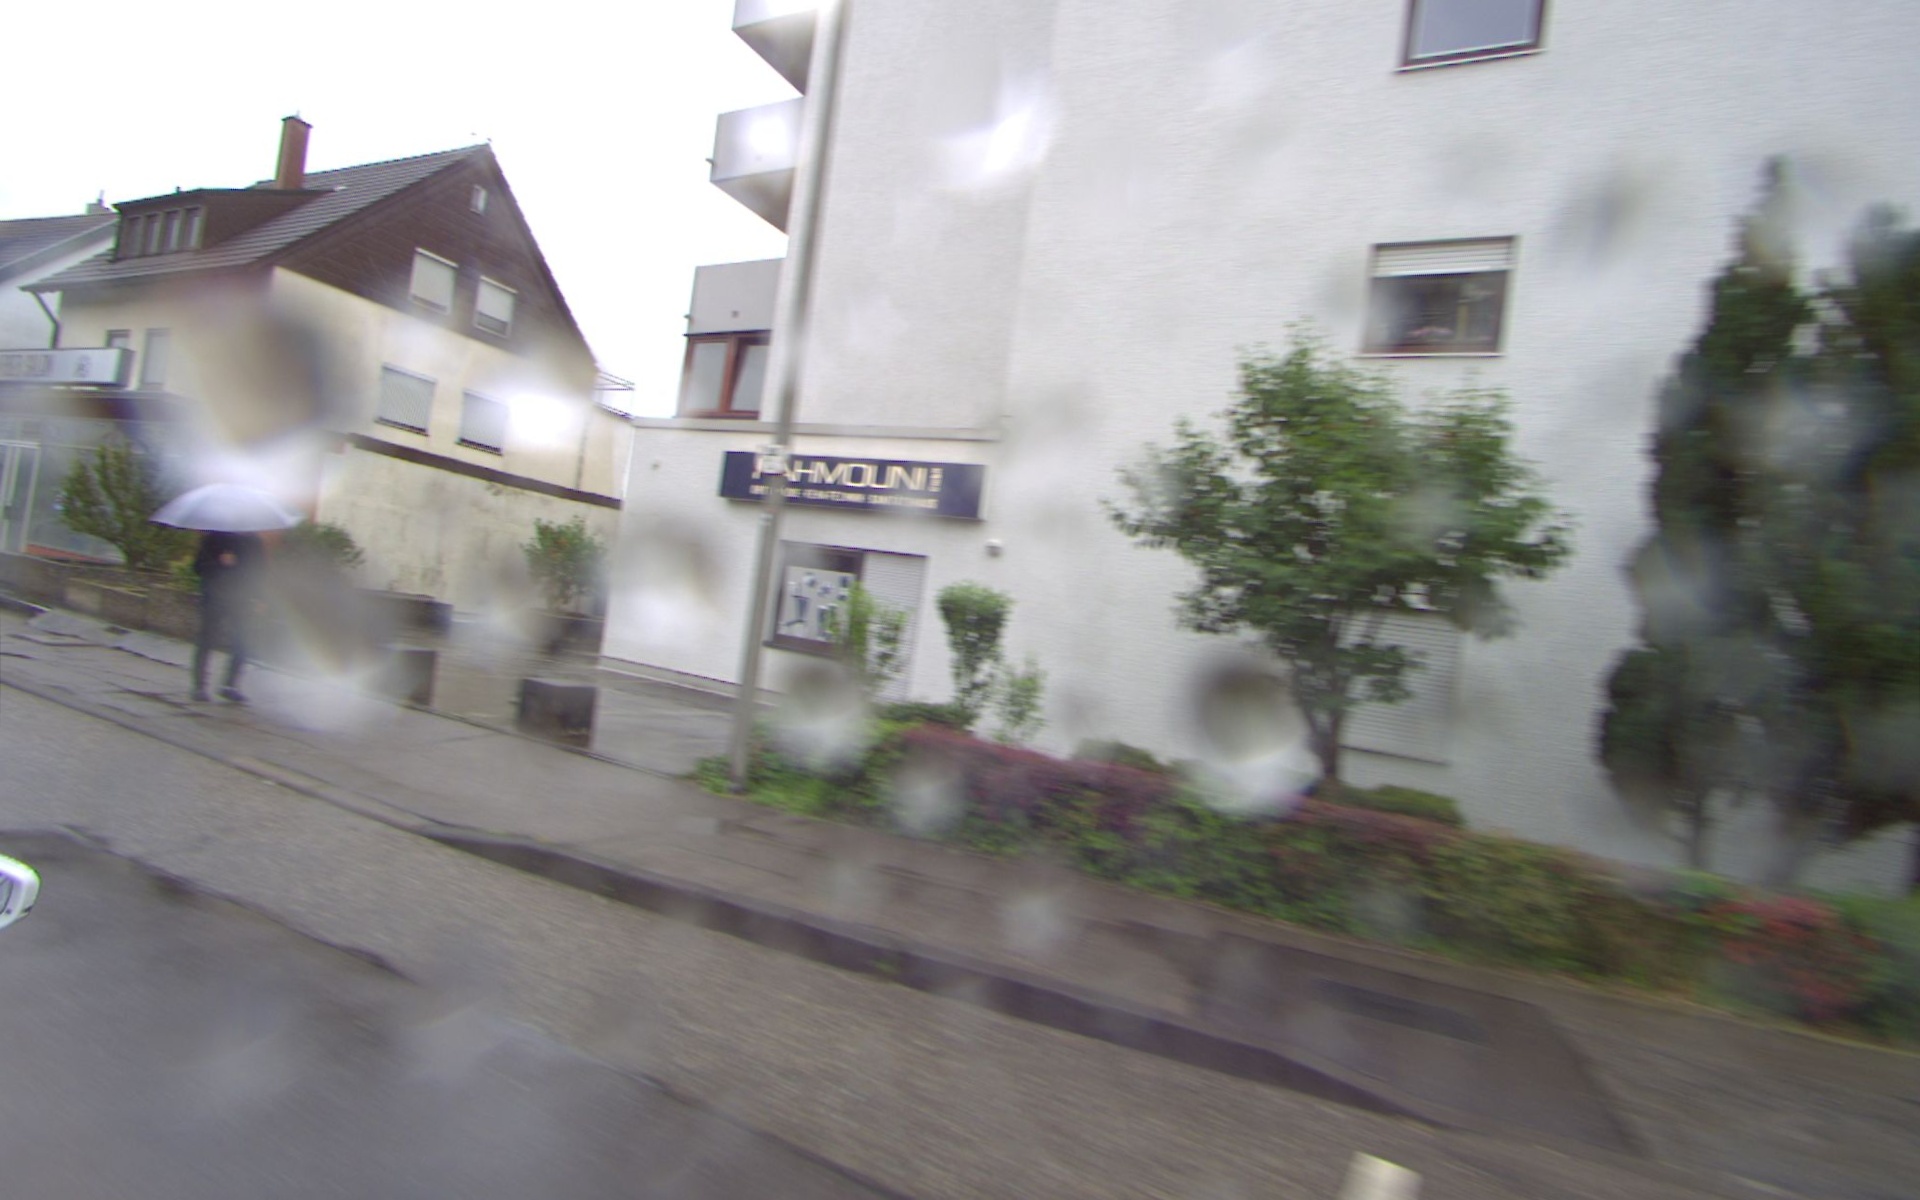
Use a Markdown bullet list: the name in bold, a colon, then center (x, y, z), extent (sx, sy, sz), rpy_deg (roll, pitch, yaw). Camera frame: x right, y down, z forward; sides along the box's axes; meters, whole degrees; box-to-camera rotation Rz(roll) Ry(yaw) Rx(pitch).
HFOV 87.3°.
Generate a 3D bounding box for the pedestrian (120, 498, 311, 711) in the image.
- **pedestrian**: center (-6.153, 0.042, 8.329), extent (0.976, 1.584, 0.755), rpy_deg (6, -4, 31)
